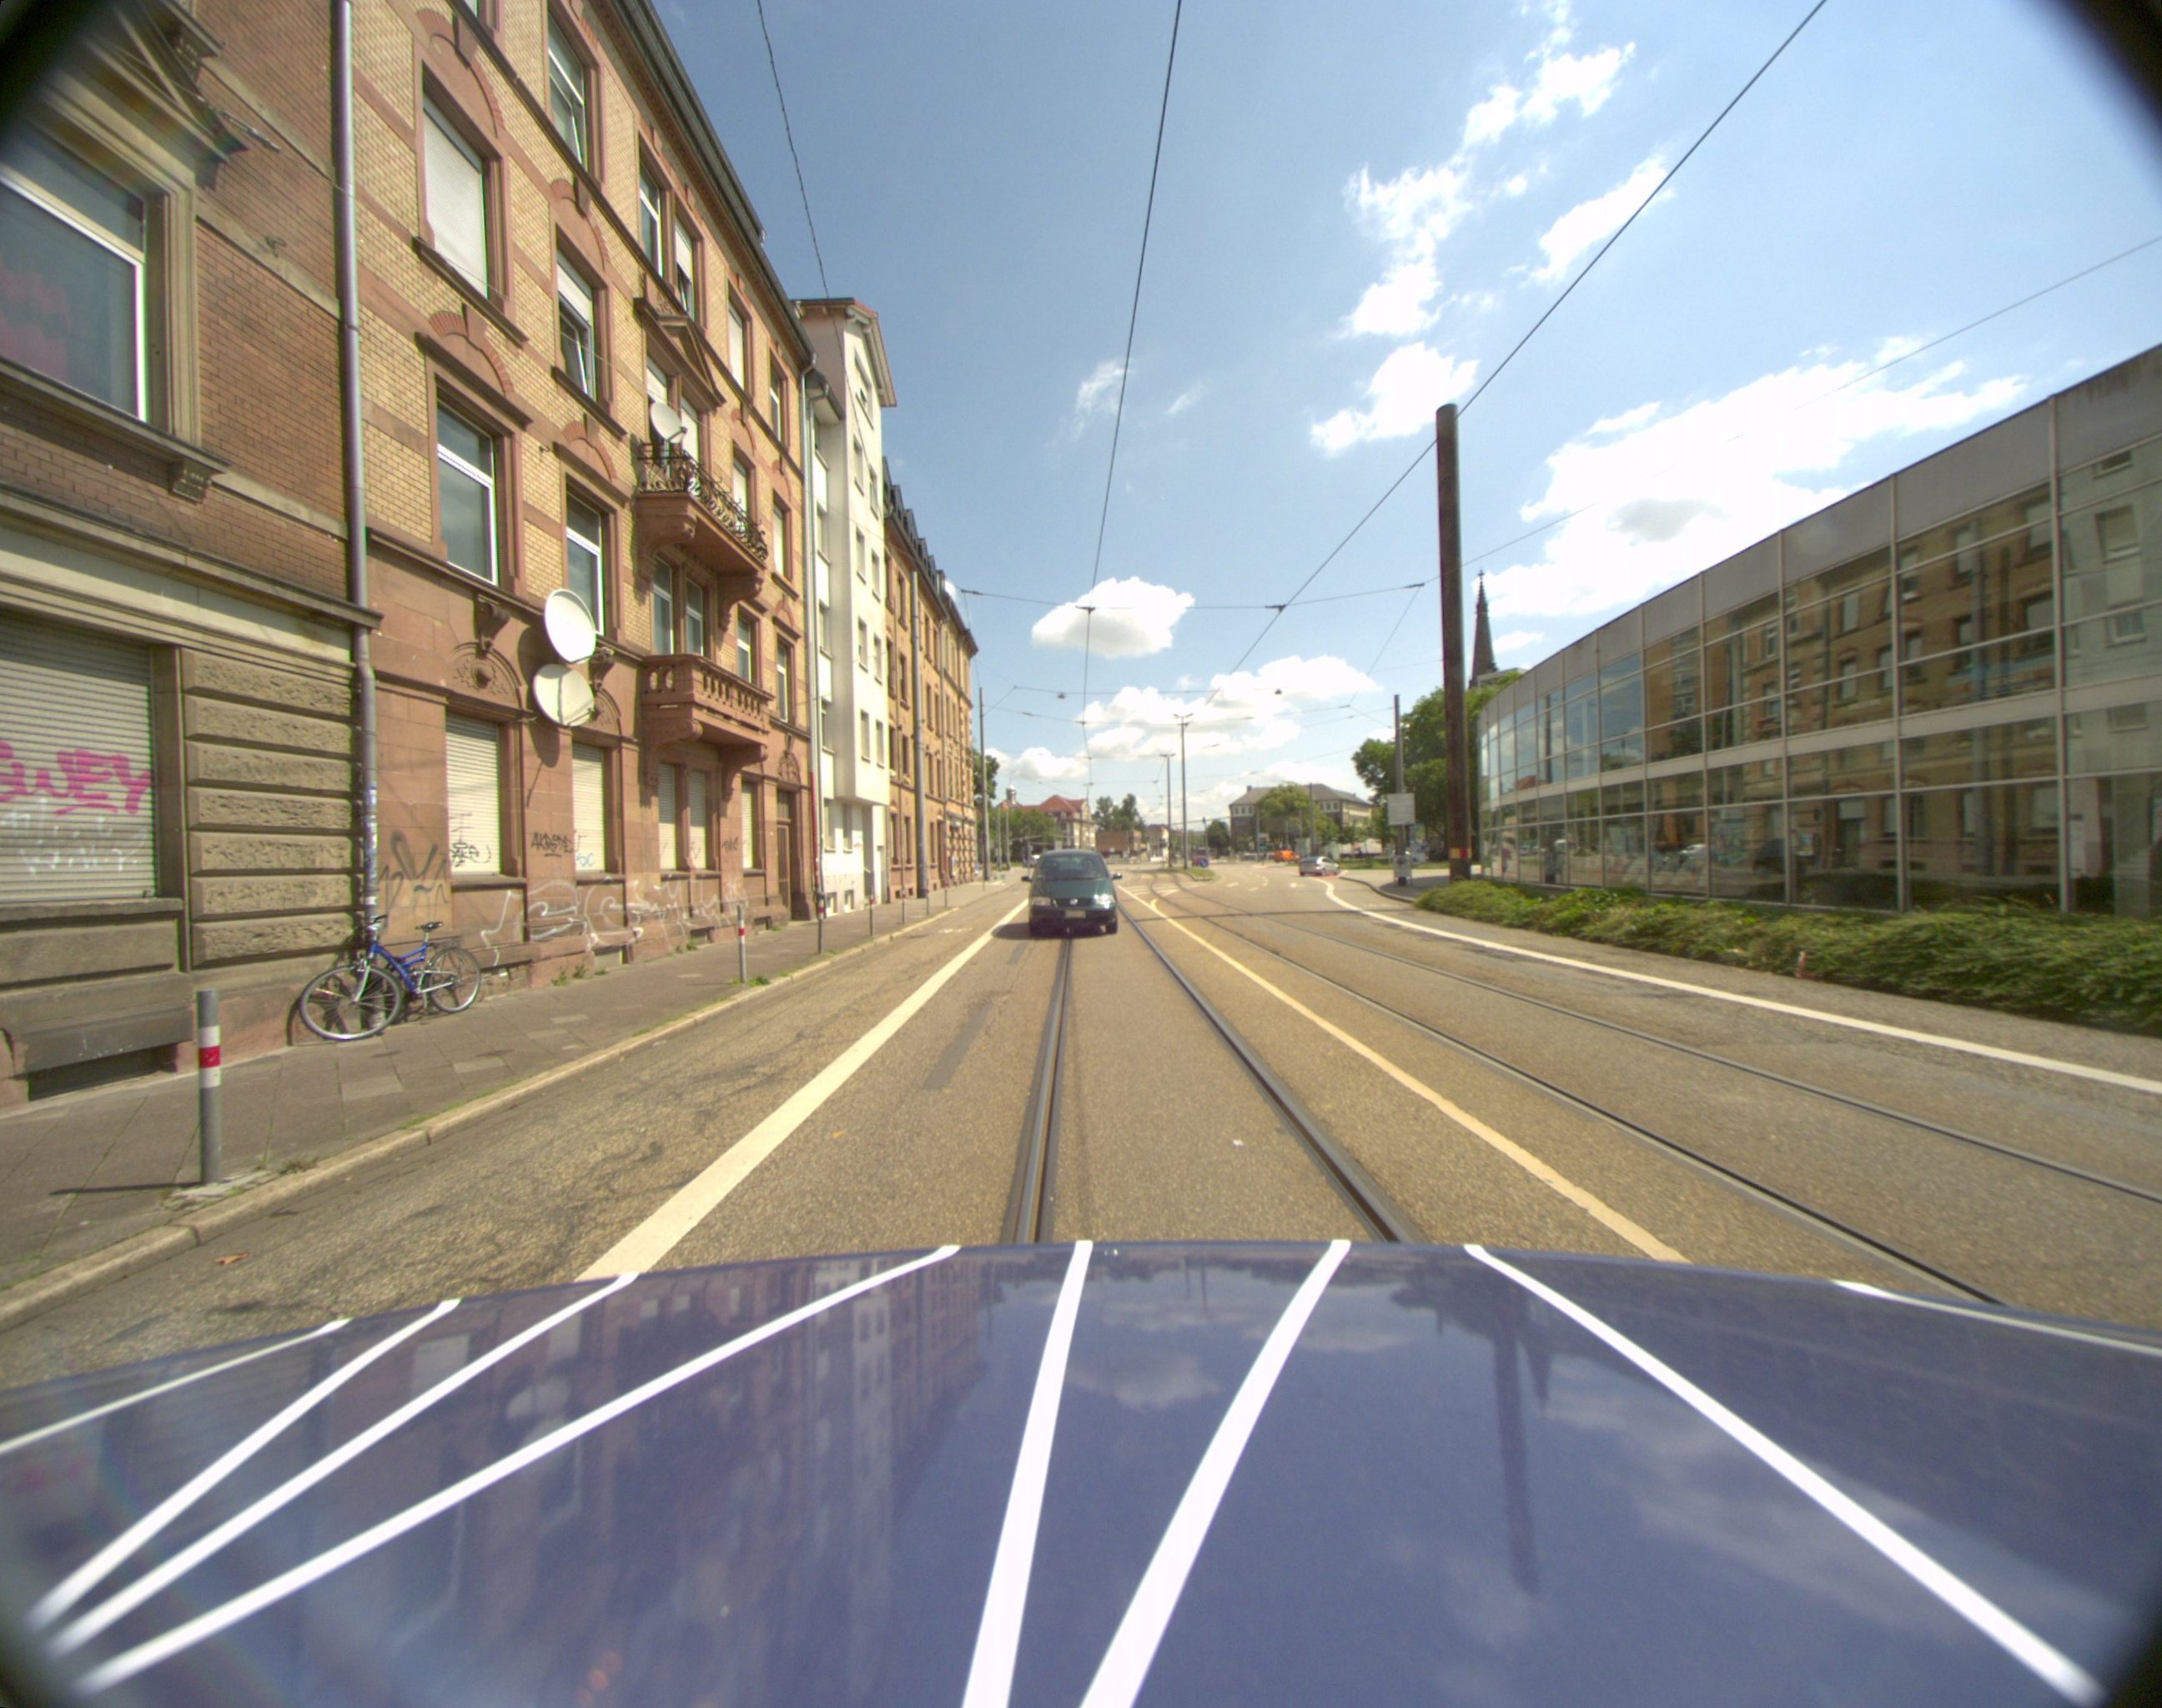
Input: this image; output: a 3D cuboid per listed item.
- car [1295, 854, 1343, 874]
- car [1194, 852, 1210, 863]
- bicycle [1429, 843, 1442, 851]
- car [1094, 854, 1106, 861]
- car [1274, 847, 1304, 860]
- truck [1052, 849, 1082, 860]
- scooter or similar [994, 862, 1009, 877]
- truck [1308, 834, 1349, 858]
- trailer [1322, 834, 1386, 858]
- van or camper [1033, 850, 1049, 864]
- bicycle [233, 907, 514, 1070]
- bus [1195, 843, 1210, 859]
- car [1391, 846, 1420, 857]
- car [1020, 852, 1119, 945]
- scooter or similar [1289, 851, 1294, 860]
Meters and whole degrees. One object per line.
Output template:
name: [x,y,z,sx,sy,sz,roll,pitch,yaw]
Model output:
car: [17.411,0.709,55.497,1.815,1.412,4.196,0,1,40]
car: [16.566,0.485,103.970,1.706,1.420,3.902,0,0,2]
bicycle: [50.599,-0.998,108.431,0.494,1.161,1.598,-2,0,-31]
car: [3.859,0.706,156.690,1.772,1.594,4.489,-1,0,-8]
car: [31.841,-0.091,116.234,4.374,1.855,1.913,-1,0,-29]
truck: [-3.861,0.130,217.285,3.347,2.981,8.751,0,1,43]
scooter or similar: [-6.391,1.251,61.332,0.949,1.173,1.086,-1,1,6]
truck: [43.466,-1.345,133.544,6.889,4.094,2.957,-1,0,-30]
trailer: [49.388,-1.462,137.056,13.440,4.052,2.942,-1,0,-31]
van or camper: [-8.118,0.647,152.417,2.234,2.719,5.516,-2,0,-12]
bicycle: [-6.614,1.177,7.321,0.588,1.171,2.205,-1,0,1]
bus: [26.608,-0.708,165.953,2.947,3.427,7.954,-1,0,11]
car: [52.735,-0.369,123.587,4.164,1.633,1.632,-2,0,18]
car: [-0.216,0.830,16.340,1.819,1.707,4.085,-2,0,0]
scooter or similar: [27.612,0.159,99.664,0.462,1.193,0.549,-2,0,-1]
